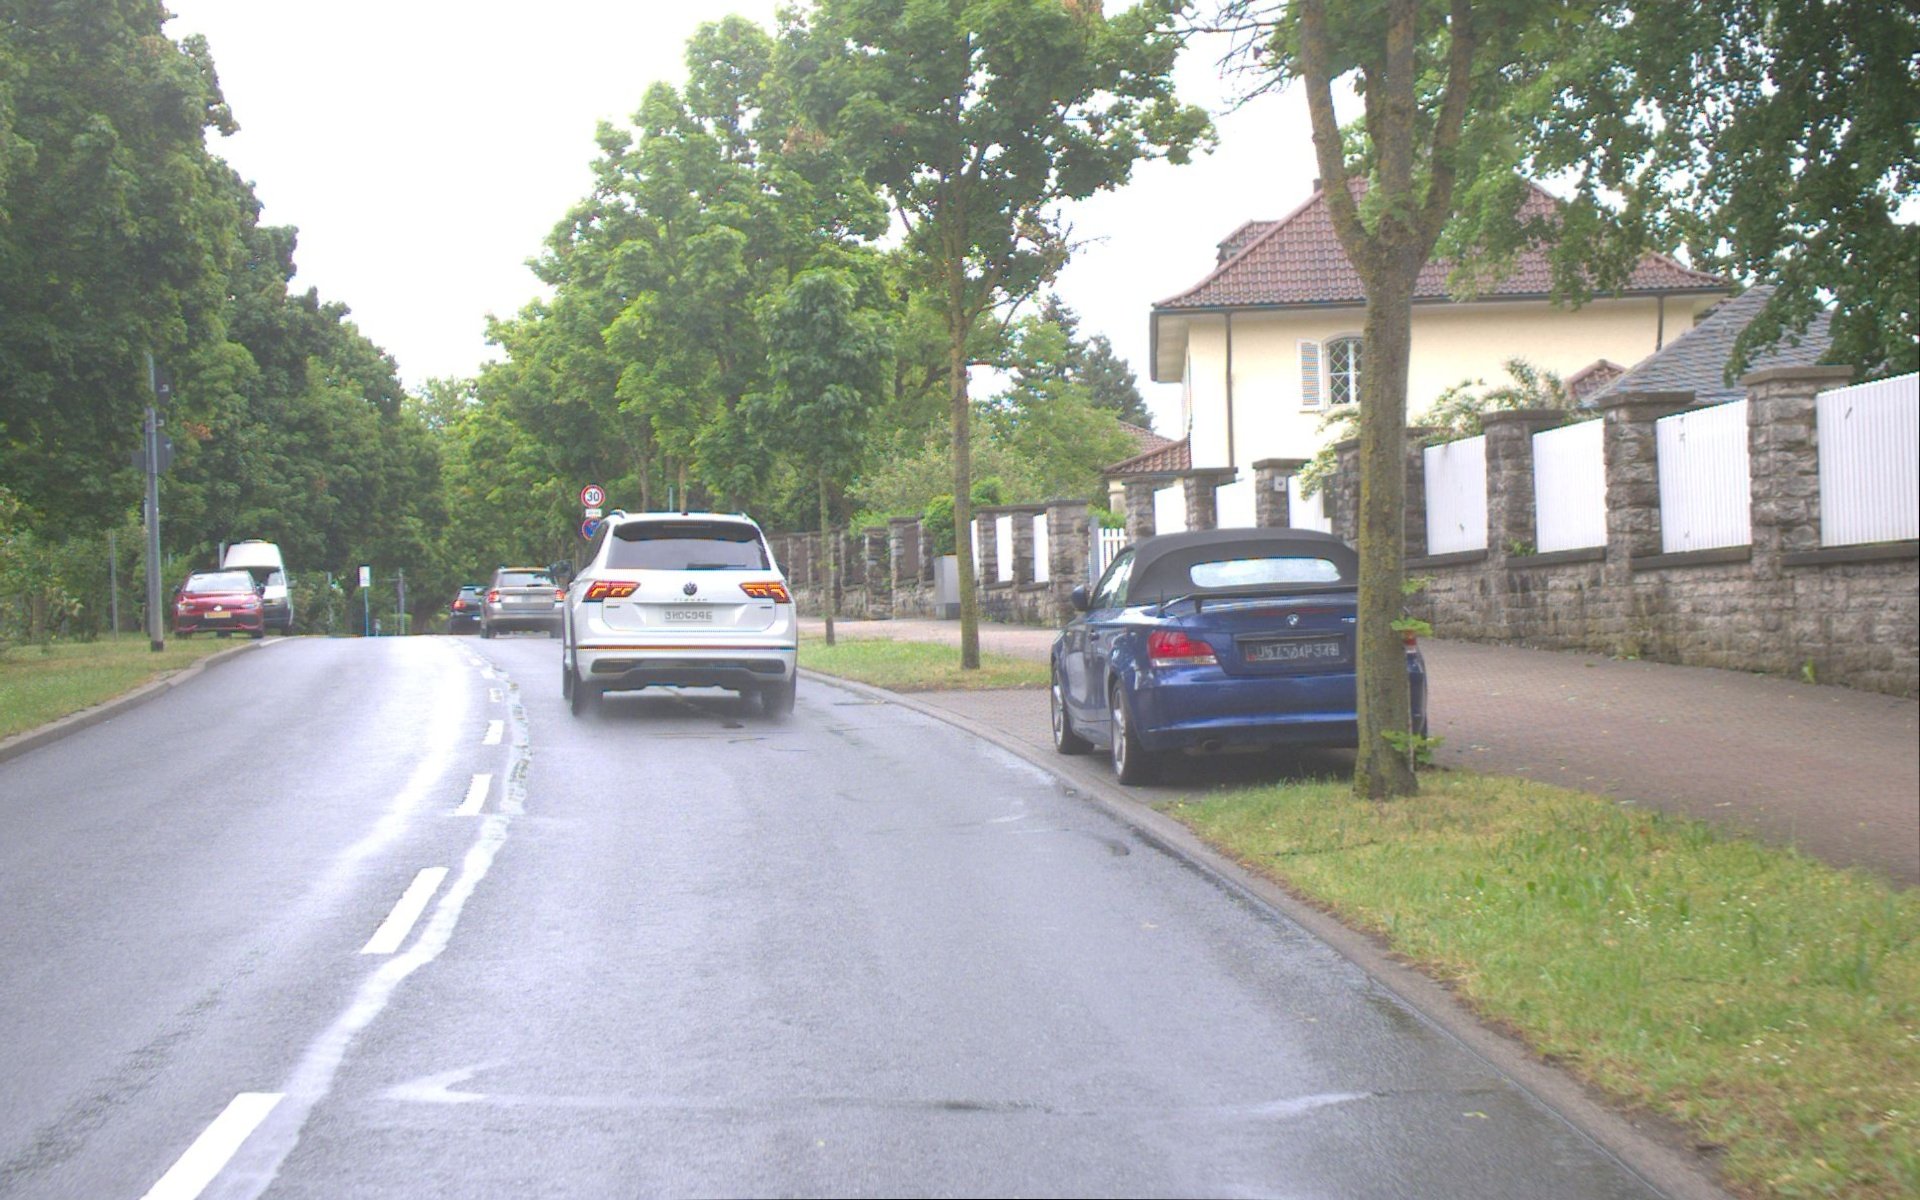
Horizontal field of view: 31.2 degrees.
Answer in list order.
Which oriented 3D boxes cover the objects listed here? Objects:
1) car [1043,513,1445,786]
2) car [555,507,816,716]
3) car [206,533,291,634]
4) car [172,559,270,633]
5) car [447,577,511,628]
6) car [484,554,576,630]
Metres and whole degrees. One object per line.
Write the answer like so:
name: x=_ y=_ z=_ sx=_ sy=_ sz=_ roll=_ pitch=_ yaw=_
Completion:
car: x=1.574 y=0.240 z=20.330 sx=1.641 sy=1.373 sz=3.830 roll=-3 pitch=1 yaw=-5
car: x=-2.392 y=0.038 z=29.060 sx=1.996 sy=1.626 sz=4.001 roll=-1 pitch=1 yaw=-7
car: x=-18.808 y=-0.404 z=91.045 sx=1.993 sy=2.552 sz=5.234 roll=-2 pitch=0 yaw=-10
car: x=-15.335 y=-0.071 z=71.476 sx=1.842 sy=1.461 sz=4.251 roll=-1 pitch=0 yaw=-10
car: x=-14.438 y=0.060 z=103.179 sx=1.851 sy=1.413 sz=4.227 roll=0 pitch=1 yaw=-8
car: x=-8.933 y=-0.178 z=71.227 sx=1.840 sy=1.482 sz=4.001 roll=0 pitch=1 yaw=-8
